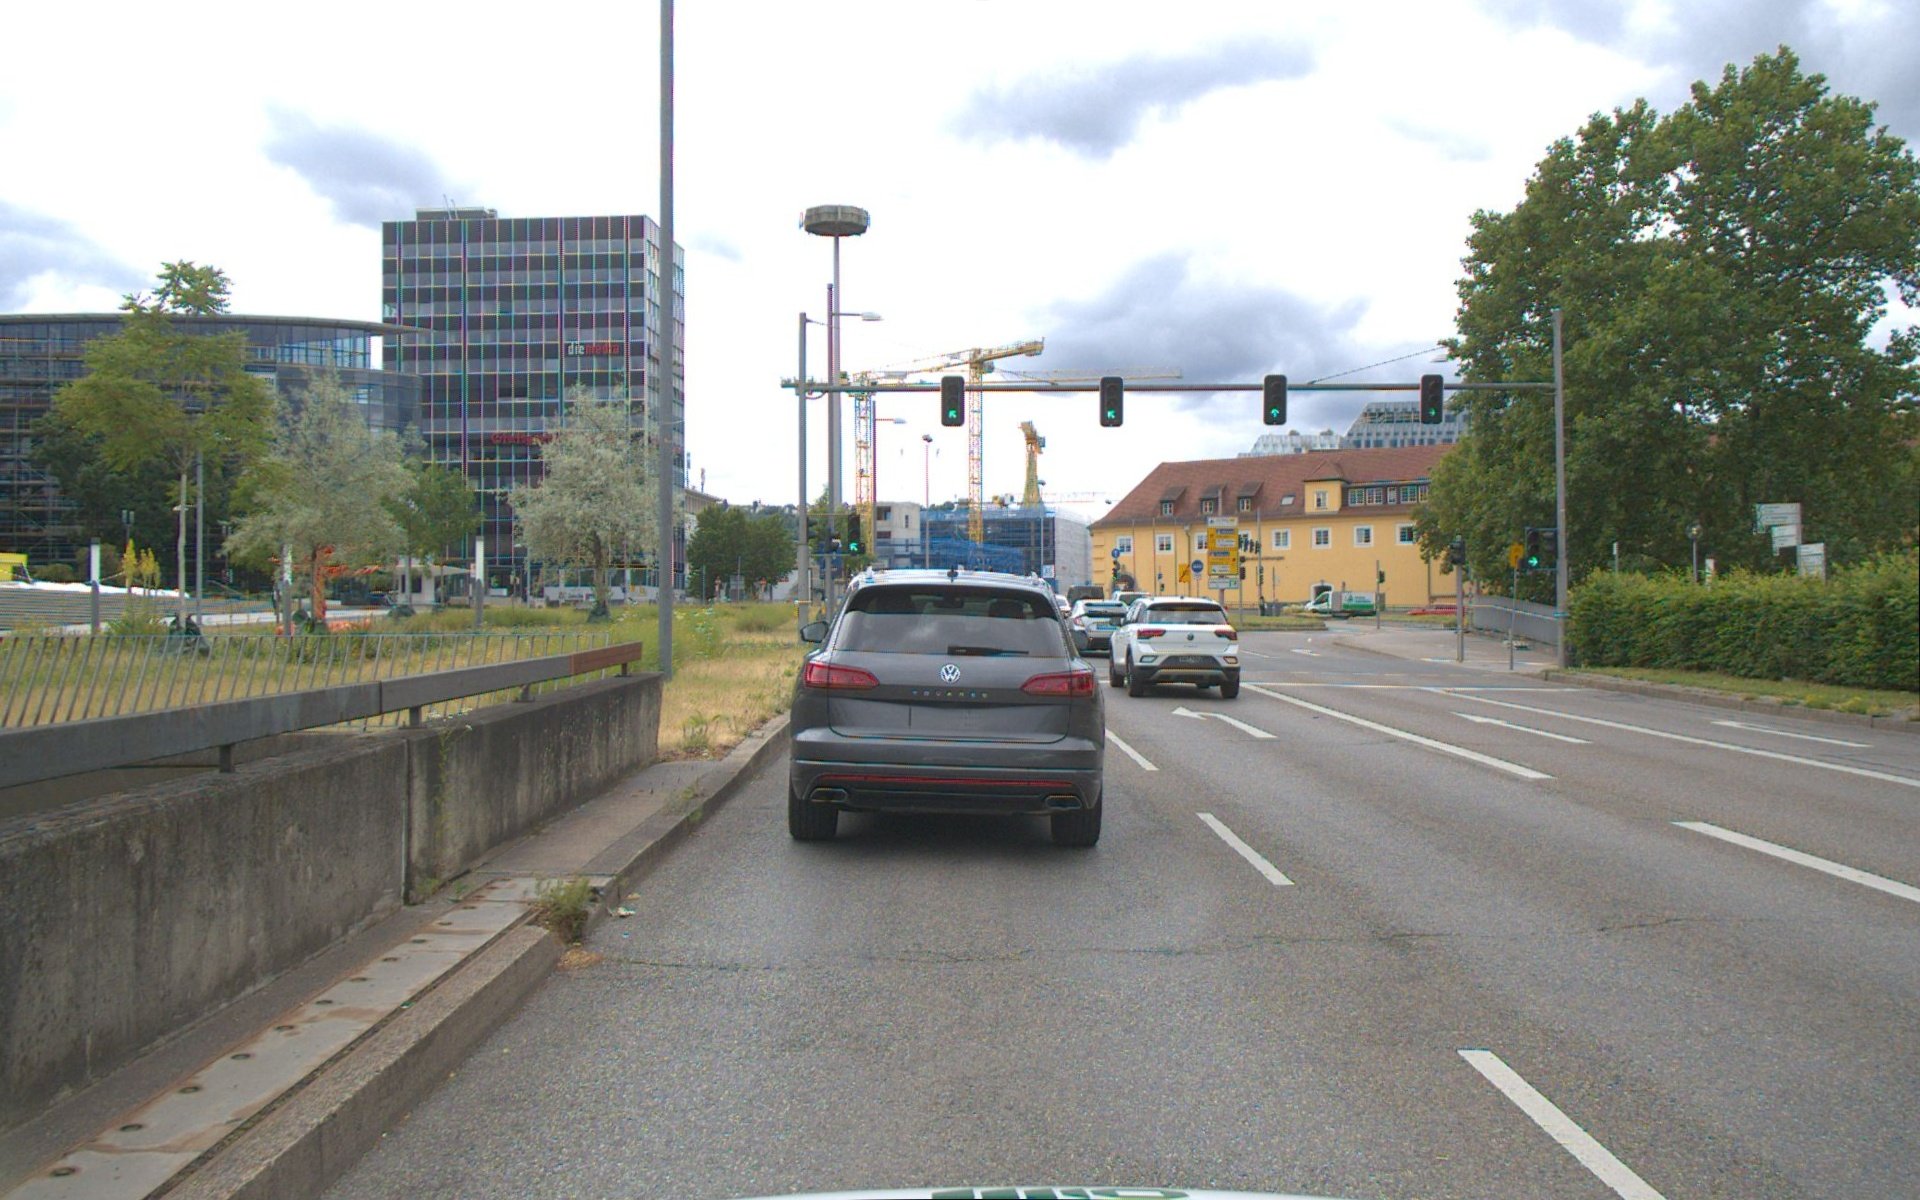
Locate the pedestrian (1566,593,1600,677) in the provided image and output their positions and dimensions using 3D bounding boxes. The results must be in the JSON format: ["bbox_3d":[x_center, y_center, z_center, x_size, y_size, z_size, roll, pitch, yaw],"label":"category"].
[{"bbox_3d":[13.588,0.759,36.068,0.469,1.795,0.620,1,0,-3],"label":"pedestrian"}]

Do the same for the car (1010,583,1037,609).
[{"bbox_3d":[5.053,-0.340,131.758,1.953,2.049,4.000,0,0,0],"label":"car"}]

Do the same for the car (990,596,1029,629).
[{"bbox_3d":[2.692,0.704,90.833,2.095,1.758,4.070,0,0,1],"label":"car"}]

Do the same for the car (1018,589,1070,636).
[{"bbox_3d":[2.889,0.401,56.501,1.683,1.529,3.983,1,0,4],"label":"car"}]

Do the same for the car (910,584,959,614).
[{"bbox_3d":[-1.406,-0.073,89.053,2.202,1.529,4.605,1,0,-7],"label":"car"}]

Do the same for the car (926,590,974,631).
[{"bbox_3d":[-0.395,0.375,63.604,1.777,1.522,3.906,1,0,0],"label":"car"}]

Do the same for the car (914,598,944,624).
[{"bbox_3d":[-1.872,0.645,101.207,1.683,1.529,3.982,1,0,1],"label":"car"}]

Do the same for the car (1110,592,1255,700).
[{"bbox_3d":[3.578,0.697,27.230,1.855,1.613,3.800,1,0,0],"label":"car"}]

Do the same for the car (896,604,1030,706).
[{"bbox_3d":[0.032,0.806,26.069,1.953,1.411,4.000,0,1,0],"label":"car"}]

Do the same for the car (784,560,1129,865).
[{"bbox_3d":[-0.032,0.607,11.158,1.893,1.676,4.000,1,0,0],"label":"car"}]

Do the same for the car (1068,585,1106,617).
[{"bbox_3d":[6.421,0.032,83.809,1.683,1.529,3.981,1,0,1],"label":"car"}]

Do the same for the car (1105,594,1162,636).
[{"bbox_3d":[6.561,0.544,62.849,1.766,1.529,3.981,1,0,1],"label":"car"}]

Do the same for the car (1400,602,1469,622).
[{"bbox_3d":[34.515,0.883,120.420,4.593,1.445,1.593,0,0,32],"label":"car"}]

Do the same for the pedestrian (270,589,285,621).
[{"bbox_3d":[-36.491,0.278,88.444,0.513,1.678,0.650,1,0,-2],"label":"pedestrian"}]

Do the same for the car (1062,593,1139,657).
[{"bbox_3d":[3.558,0.605,42.574,1.683,1.529,4.144,1,0,1],"label":"car"}]

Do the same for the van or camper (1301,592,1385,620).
[{"bbox_3d":[28.776,0.433,124.339,5.903,2.049,2.012,0,0,36],"label":"van or camper"}]
